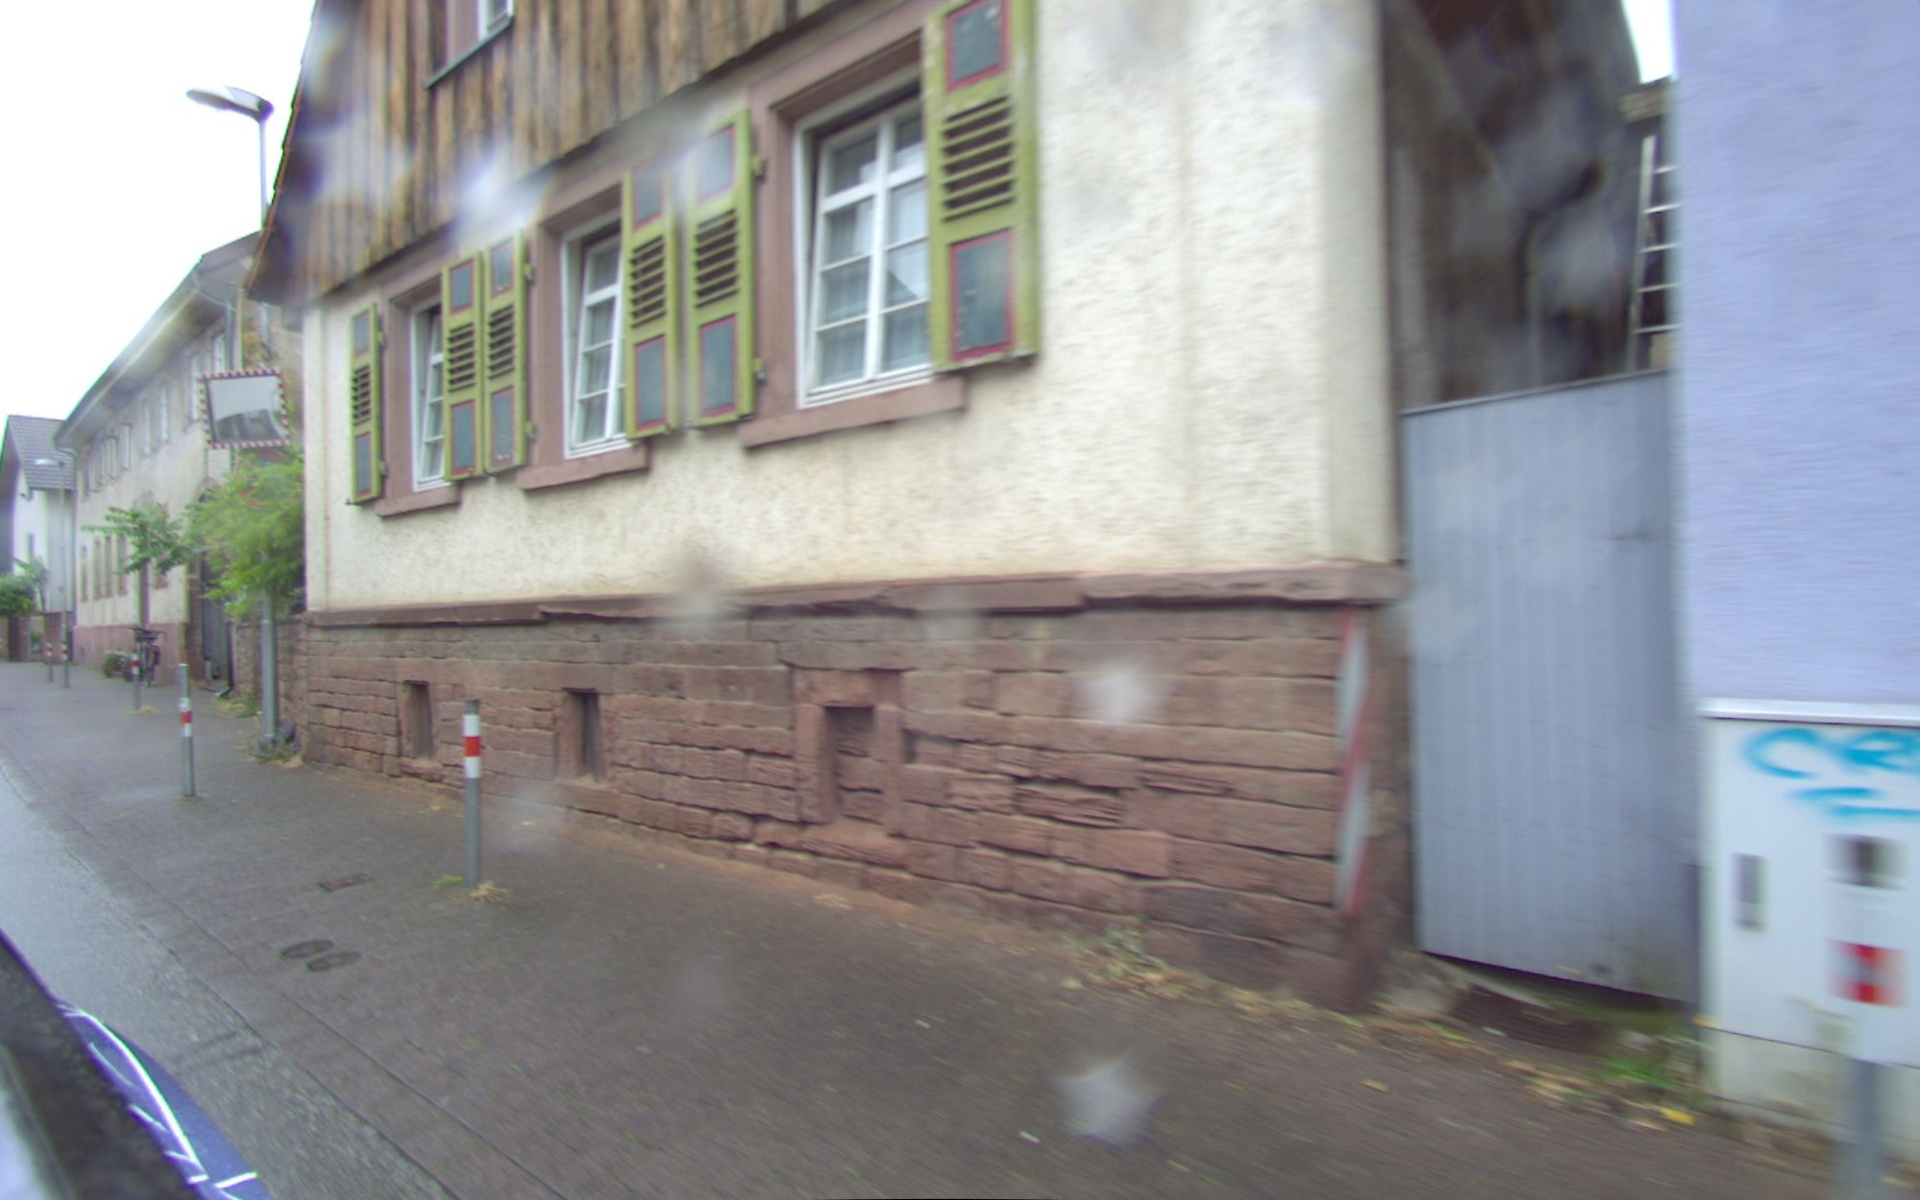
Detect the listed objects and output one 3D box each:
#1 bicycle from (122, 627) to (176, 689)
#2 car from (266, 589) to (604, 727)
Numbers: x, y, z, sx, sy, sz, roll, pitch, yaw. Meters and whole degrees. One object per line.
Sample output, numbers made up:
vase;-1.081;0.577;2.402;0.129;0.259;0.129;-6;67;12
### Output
bicycle;-16.601;1.171;20.694;1.873;1.187;0.477;-2;0;40
car;-7.446;0.719;14.568;3.939;1.436;1.738;-6;3;-41
